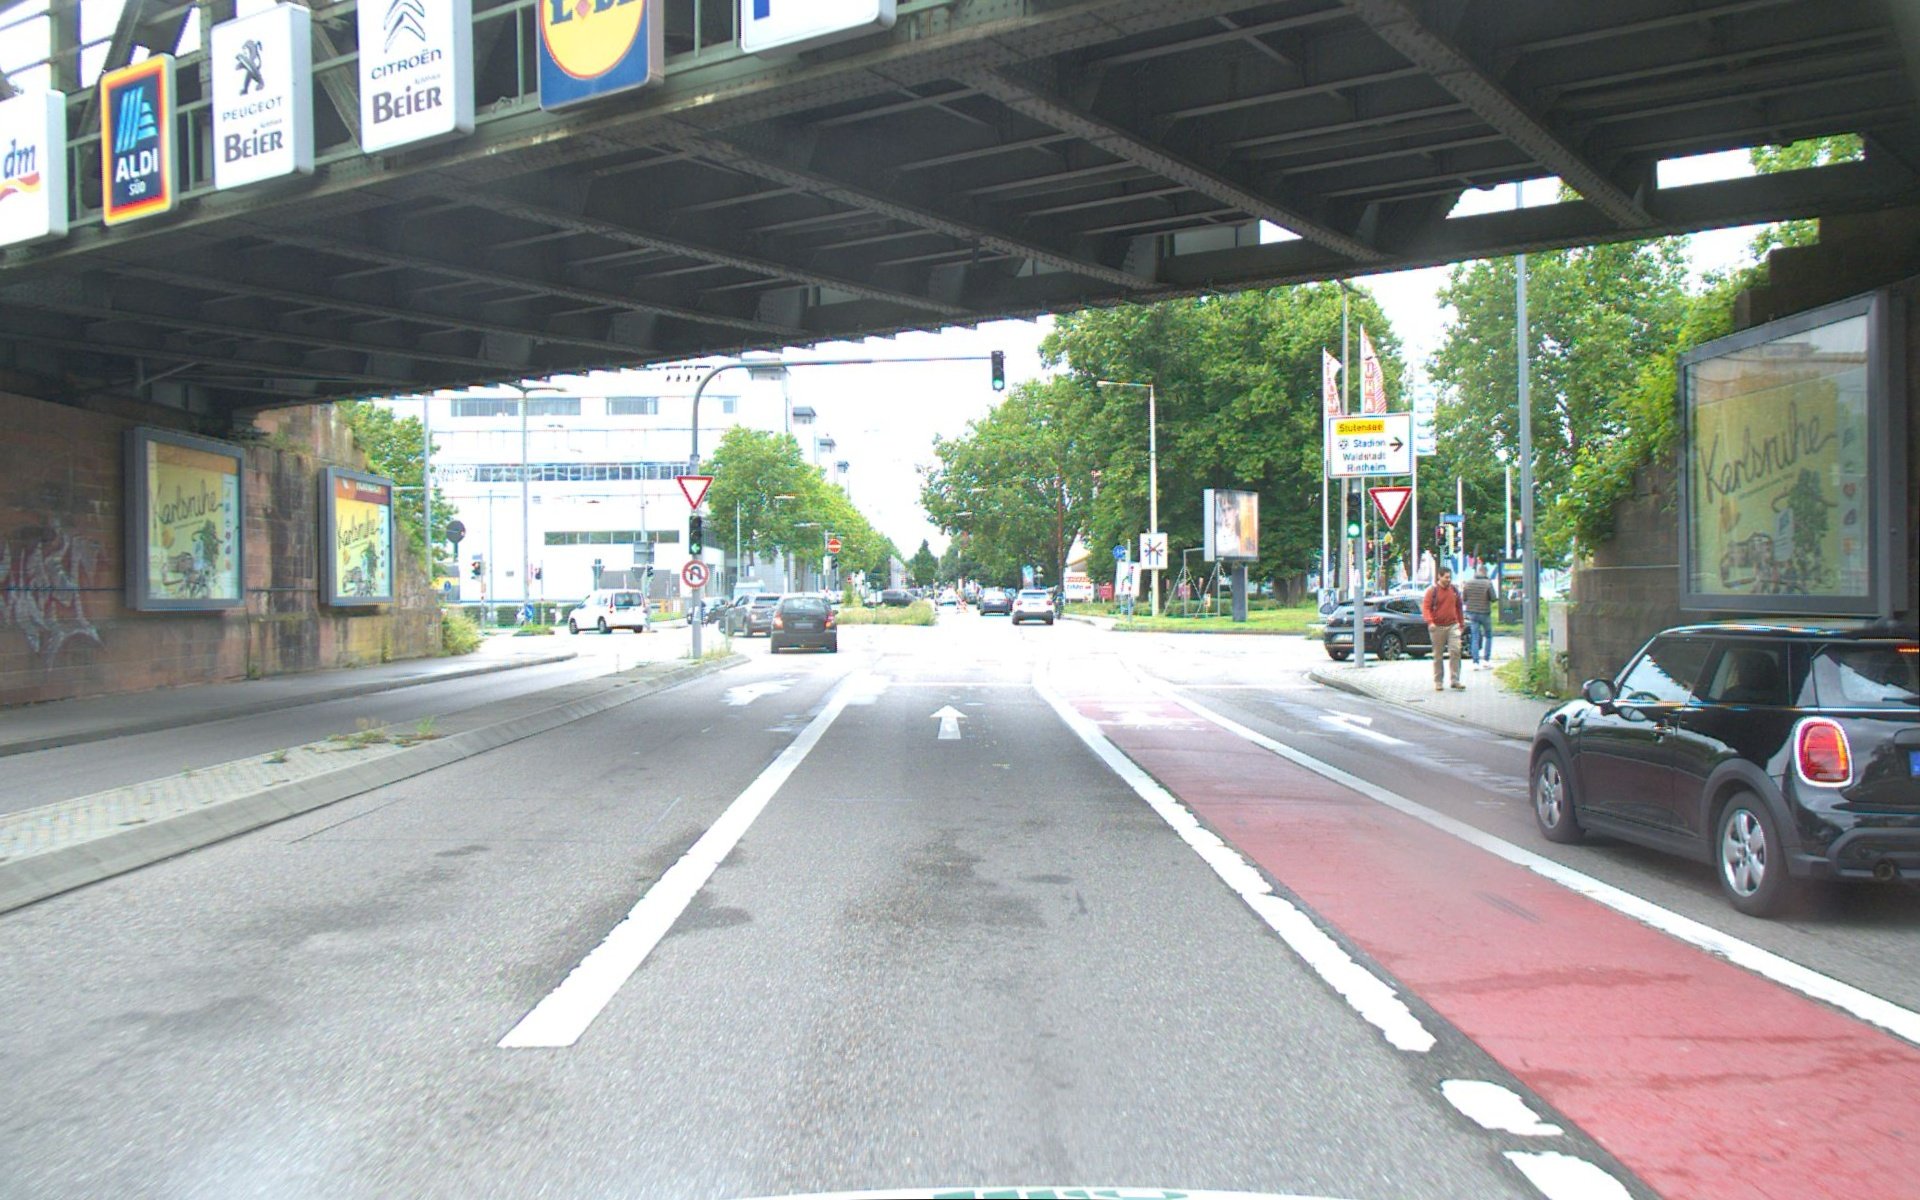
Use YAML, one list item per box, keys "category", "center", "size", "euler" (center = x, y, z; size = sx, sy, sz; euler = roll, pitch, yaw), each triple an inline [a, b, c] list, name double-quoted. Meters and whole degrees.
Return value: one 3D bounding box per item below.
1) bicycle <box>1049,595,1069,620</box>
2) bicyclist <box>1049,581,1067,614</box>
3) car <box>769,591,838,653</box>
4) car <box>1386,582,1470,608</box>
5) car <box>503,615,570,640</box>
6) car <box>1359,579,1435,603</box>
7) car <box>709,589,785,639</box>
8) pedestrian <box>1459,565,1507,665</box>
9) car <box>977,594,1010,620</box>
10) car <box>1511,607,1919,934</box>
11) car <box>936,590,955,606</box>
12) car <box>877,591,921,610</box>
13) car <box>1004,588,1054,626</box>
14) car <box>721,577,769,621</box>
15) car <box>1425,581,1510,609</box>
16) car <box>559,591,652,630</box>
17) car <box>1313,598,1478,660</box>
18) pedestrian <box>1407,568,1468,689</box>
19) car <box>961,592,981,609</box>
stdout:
- category: "bicycle"
  center: [5.058, 0.392, 84.948]
  size: [0.800, 1.234, 2.682]
  euler: [-1, 0, -1]
- category: "bicyclist"
  center: [5.045, -0.109, 84.946]
  size: [0.800, 1.658, 1.235]
  euler: [-1, 0, -1]
- category: "car"
  center: [-4.158, 0.551, 44.271]
  size: [1.734, 1.554, 3.666]
  euler: [0, 1, -4]
- category: "car"
  center: [29.043, -0.277, 102.641]
  size: [4.581, 1.523, 2.169]
  euler: [1, 0, -3]
- category: "car"
  center: [-29.455, 1.906, 115.106]
  size: [4.125, 1.559, 1.913]
  euler: [-1, 0, 0]
- category: "car"
  center: [28.629, -0.590, 108.437]
  size: [4.443, 1.523, 1.957]
  euler: [1, 0, -6]
- category: "car"
  center: [-7.645, 0.480, 59.134]
  size: [1.749, 1.681, 3.643]
  euler: [0, 1, -23]
- category: "pedestrian"
  center: [8.885, 0.248, 28.107]
  size: [0.726, 1.669, 0.779]
  euler: [-1, 0, 16]
- category: "car"
  center: [2.039, 0.394, 101.446]
  size: [1.651, 1.540, 3.703]
  euler: [0, 1, -4]
- category: "car"
  center: [4.608, 0.780, 9.367]
  size: [1.645, 1.456, 3.773]
  euler: [0, 0, -2]
- category: "car"
  center: [-1.495, -0.235, 168.354]
  size: [1.760, 1.540, 3.703]
  euler: [0, 1, -4]
- category: "car"
  center: [-5.299, 0.038, 144.647]
  size: [3.805, 1.583, 1.825]
  euler: [1, 0, -2]
- category: "car"
  center: [3.065, 0.275, 74.035]
  size: [1.787, 1.628, 3.773]
  euler: [0, 1, -4]
- category: "car"
  center: [-14.752, -0.076, 113.864]
  size: [2.280, 2.875, 5.951]
  euler: [-1, 0, 2]
- category: "car"
  center: [29.479, -0.288, 96.164]
  size: [4.357, 1.523, 1.929]
  euler: [1, 0, -6]
- category: "car"
  center: [-15.038, 0.428, 69.974]
  size: [1.948, 1.554, 4.943]
  euler: [0, 1, -38]
- category: "car"
  center: [9.692, 0.608, 36.808]
  size: [3.370, 1.303, 1.637]
  euler: [0, 1, -29]
- category: "pedestrian"
  center: [7.176, 0.417, 24.854]
  size: [0.853, 1.790, 0.788]
  euler: [-1, 0, 17]
- category: "car"
  center: [1.177, 0.063, 173.682]
  size: [1.839, 1.661, 3.998]
  euler: [-2, 0, -3]
